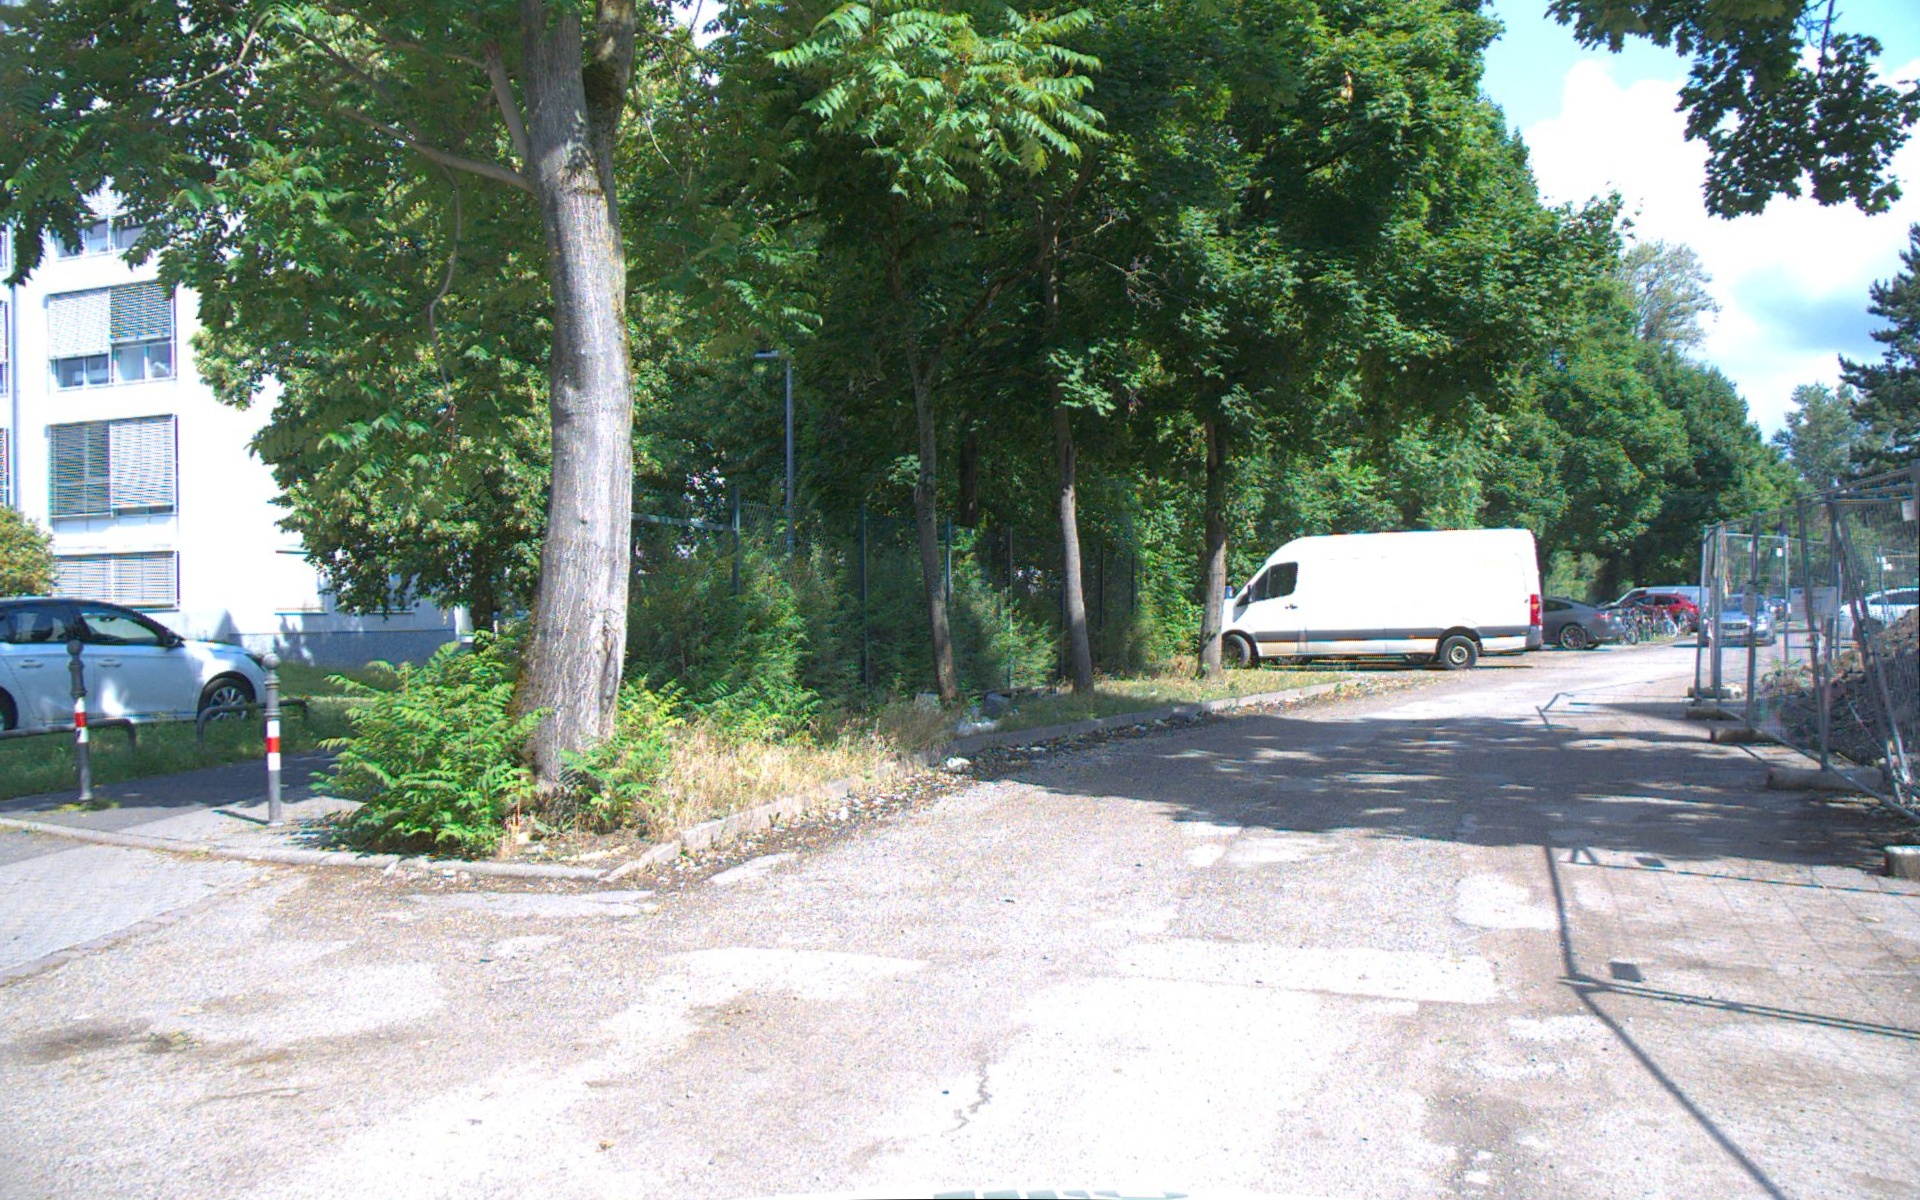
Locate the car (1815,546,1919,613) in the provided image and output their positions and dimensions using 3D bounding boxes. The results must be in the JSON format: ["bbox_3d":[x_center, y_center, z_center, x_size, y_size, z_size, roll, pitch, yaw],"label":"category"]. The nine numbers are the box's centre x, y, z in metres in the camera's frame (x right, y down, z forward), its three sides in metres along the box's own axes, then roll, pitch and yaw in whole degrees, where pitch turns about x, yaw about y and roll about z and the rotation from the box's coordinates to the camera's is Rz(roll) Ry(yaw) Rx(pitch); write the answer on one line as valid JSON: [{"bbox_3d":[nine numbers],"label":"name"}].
[{"bbox_3d":[23.948,-0.451,40.919,4.767,1.453,1.840,3,-1,33],"label":"car"}]

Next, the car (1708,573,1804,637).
[{"bbox_3d":[21.994,0.158,45.625,1.807,1.453,3.987,3,-1,34],"label":"car"}]

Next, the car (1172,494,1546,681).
[{"bbox_3d":[7.836,-0.286,32.815,6.807,3.100,2.001,4,1,15],"label":"car"}]

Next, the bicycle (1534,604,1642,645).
[{"bbox_3d":[18.534,0.715,48.810,2.824,1.008,1.015,4,-1,30],"label":"bicycle"}]

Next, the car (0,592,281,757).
[{"bbox_3d":[-8.973,0.679,16.379,1.721,1.445,3.909,2,1,30],"label":"car"}]

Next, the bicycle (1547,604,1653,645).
[{"bbox_3d":[19.227,0.735,49.691,2.824,1.008,1.015,4,-1,30],"label":"bicycle"}]

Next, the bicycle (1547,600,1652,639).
[{"bbox_3d":[19.620,0.595,50.766,2.824,1.008,1.015,4,-1,30],"label":"bicycle"}]

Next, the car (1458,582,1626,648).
[{"bbox_3d":[15.368,0.394,43.707,3.912,1.453,1.842,4,-1,28],"label":"car"}]
